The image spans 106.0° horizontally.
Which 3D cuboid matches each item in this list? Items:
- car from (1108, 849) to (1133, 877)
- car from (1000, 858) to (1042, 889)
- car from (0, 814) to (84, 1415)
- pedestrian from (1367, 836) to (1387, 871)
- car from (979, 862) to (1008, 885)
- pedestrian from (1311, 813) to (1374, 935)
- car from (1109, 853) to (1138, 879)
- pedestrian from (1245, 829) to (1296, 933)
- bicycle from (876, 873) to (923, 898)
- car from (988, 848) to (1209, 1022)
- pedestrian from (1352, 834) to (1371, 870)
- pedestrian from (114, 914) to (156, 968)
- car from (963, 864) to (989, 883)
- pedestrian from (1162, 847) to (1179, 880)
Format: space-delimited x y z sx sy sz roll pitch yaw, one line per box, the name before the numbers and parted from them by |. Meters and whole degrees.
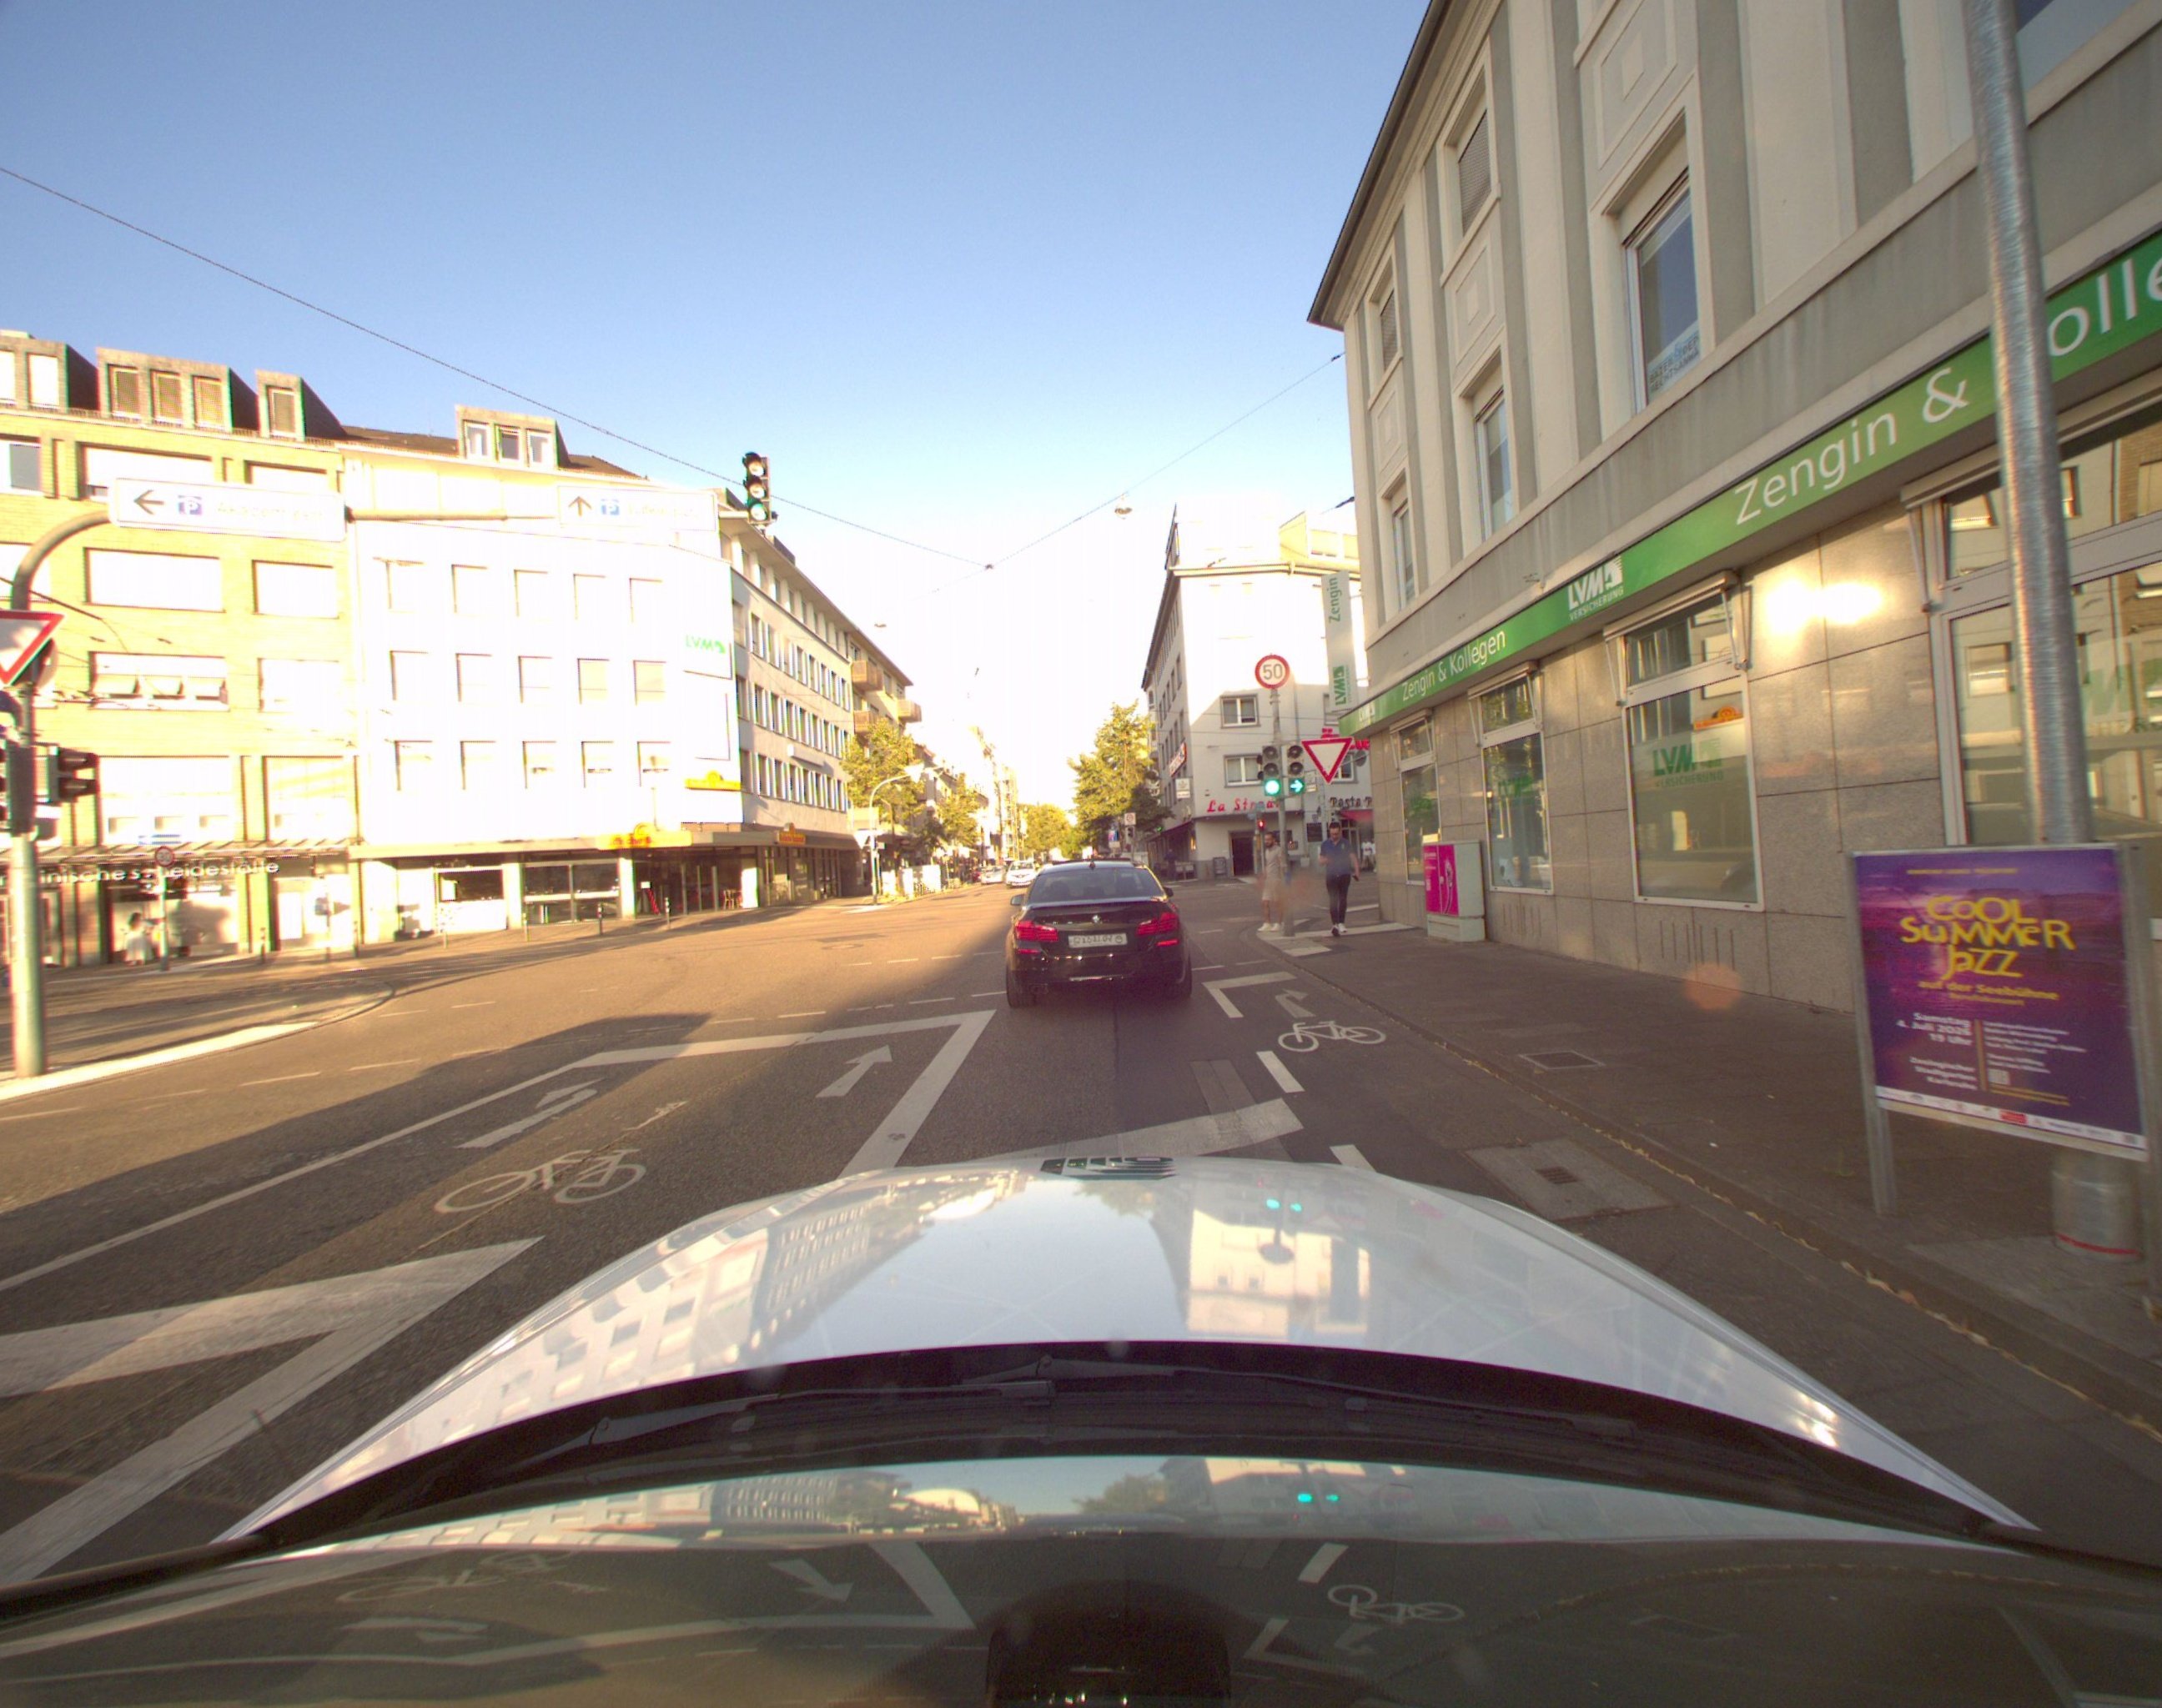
car | 2.790 0.591 56.877 1.633 1.873 3.610 -1 0 3
car | -3.447 1.136 47.393 2.102 1.556 4.011 -4 -1 -1
car | -4.022 0.762 0.209 1.794 1.698 4.570 -3 0 1
pedestrian | 15.121 -0.039 41.638 0.672 1.744 0.630 -3 -1 -42
car | -6.668 1.478 62.464 1.829 1.556 3.778 -3 0 -1
pedestrian | 4.152 0.310 12.994 0.687 1.827 0.882 -4 -1 7
car | 2.641 0.716 50.210 1.633 1.444 3.610 -4 -1 3
pedestrian | 3.334 0.465 14.309 0.646 1.742 0.698 -4 -1 24
bicycle | -9.662 1.657 43.373 2.362 1.253 0.639 -2 -1 -4
car | 0.238 0.749 9.628 1.946 1.498 4.467 -2 0 2
pedestrian | 14.563 -0.103 42.241 0.603 1.779 0.631 -3 -1 -40
pedestrian | -27.714 2.538 23.875 0.628 1.471 0.537 -4 3 -39
car | -9.628 1.765 75.142 1.829 1.556 3.778 -4 -1 -1
pedestrian | 4.586 0.494 41.956 0.709 1.676 0.703 -3 0 0
